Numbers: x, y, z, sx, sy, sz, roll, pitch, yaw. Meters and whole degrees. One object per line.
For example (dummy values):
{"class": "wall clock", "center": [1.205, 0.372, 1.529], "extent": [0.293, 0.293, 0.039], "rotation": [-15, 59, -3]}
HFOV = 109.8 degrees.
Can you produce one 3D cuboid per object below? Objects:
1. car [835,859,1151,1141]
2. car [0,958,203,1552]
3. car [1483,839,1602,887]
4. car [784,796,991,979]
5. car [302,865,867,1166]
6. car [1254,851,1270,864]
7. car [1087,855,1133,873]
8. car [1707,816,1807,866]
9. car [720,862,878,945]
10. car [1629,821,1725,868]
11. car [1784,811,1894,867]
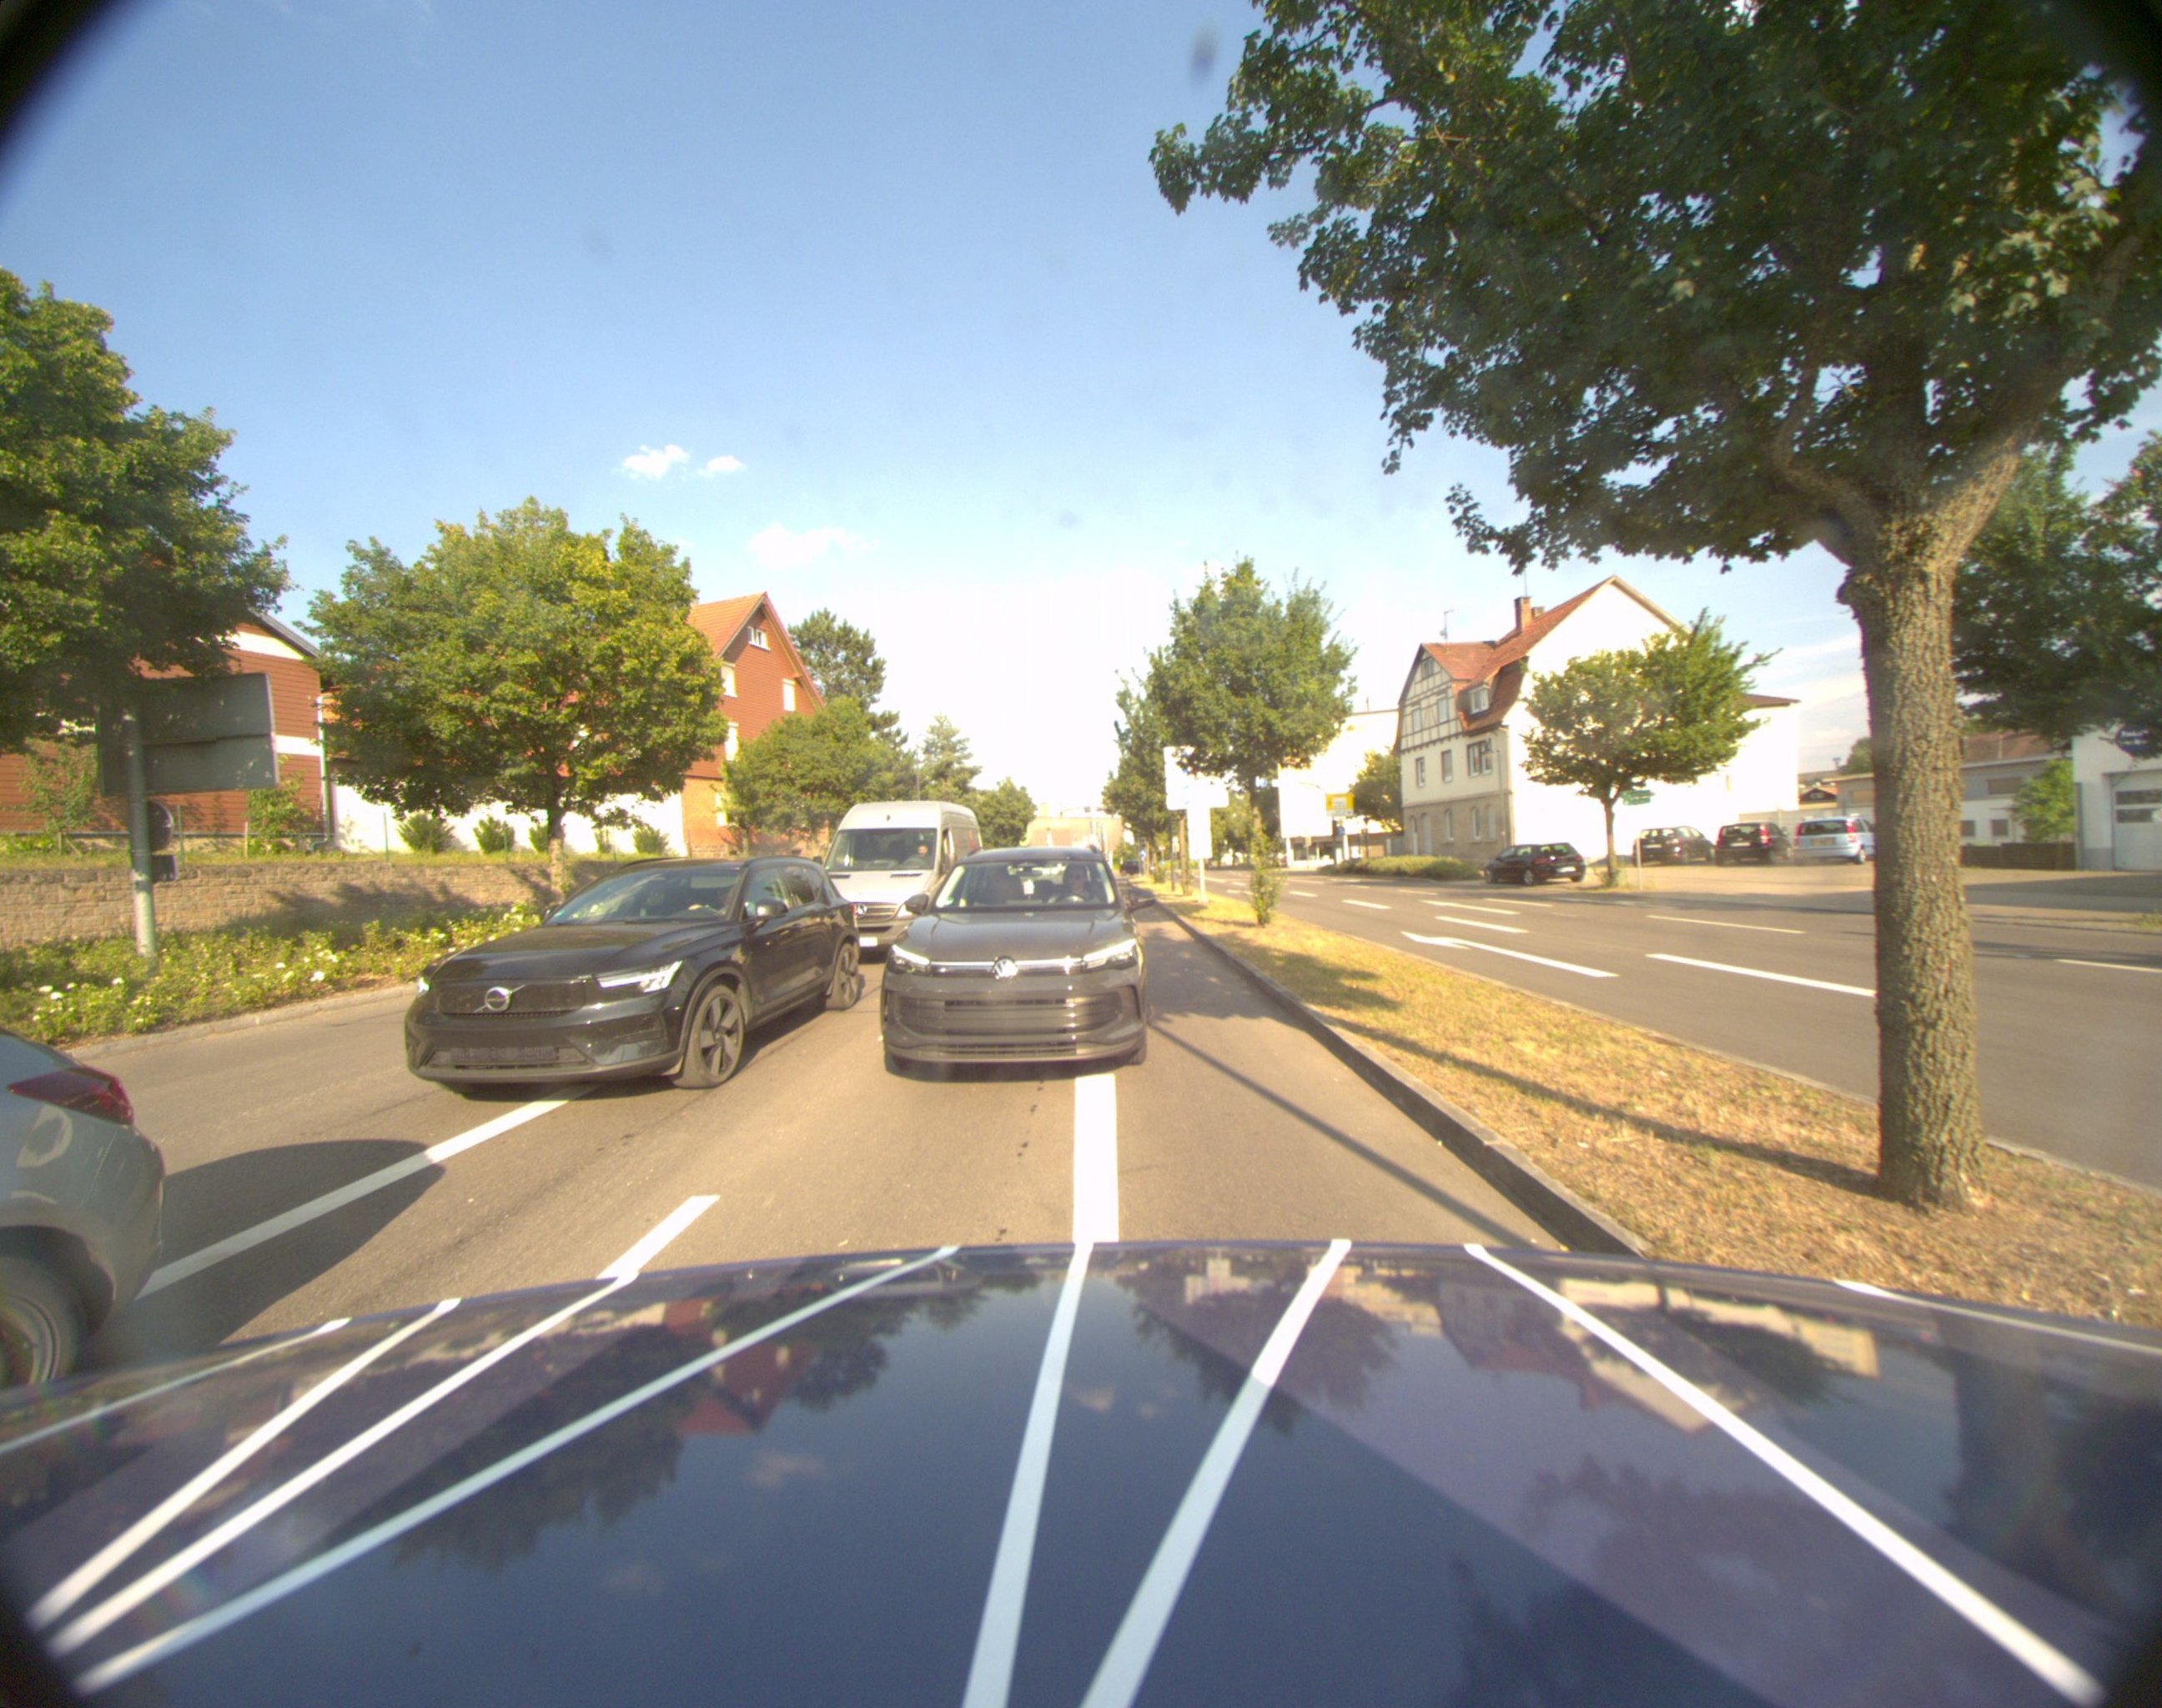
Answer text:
{"class": "car", "center": [-0.462, 0.877, 6.629], "extent": [1.845, 1.600, 4.318], "rotation": [-1, 0, 2]}
{"class": "car", "center": [-3.623, 1.065, 0.193], "extent": [1.766, 1.445, 4.318], "rotation": [-1, 0, 0]}
{"class": "car", "center": [16.021, 0.285, 26.631], "extent": [1.818, 1.442, 3.825], "rotation": [-5, 0, 1]}
{"class": "car", "center": [-3.083, 0.456, 13.713], "extent": [1.992, 2.554, 6.046], "rotation": [-1, 0, 2]}
{"class": "car", "center": [-3.410, 0.951, 6.441], "extent": [1.845, 1.600, 4.318], "rotation": [-1, 0, 2]}
{"class": "car", "center": [26.935, 0.497, 113.039], "extent": [1.779, 1.683, 4.006], "rotation": [-2, 0, 22]}
{"class": "car", "center": [2.744, 0.957, 72.057], "extent": [3.989, 1.597, 1.786], "rotation": [-2, 1, 39]}
{"class": "car", "center": [24.645, -0.484, 27.670], "extent": [3.830, 1.493, 1.816], "rotation": [-5, 0, -35]}
{"class": "car", "center": [-6.337, 1.039, 17.689], "extent": [1.766, 1.599, 4.566], "rotation": [-1, 0, 3]}
{"class": "car", "center": [23.366, -0.386, 29.766], "extent": [3.830, 1.493, 1.816], "rotation": [-5, 0, -35]}
{"class": "car", "center": [24.867, -0.498, 24.904], "extent": [3.830, 1.493, 1.816], "rotation": [-5, 0, -35]}
